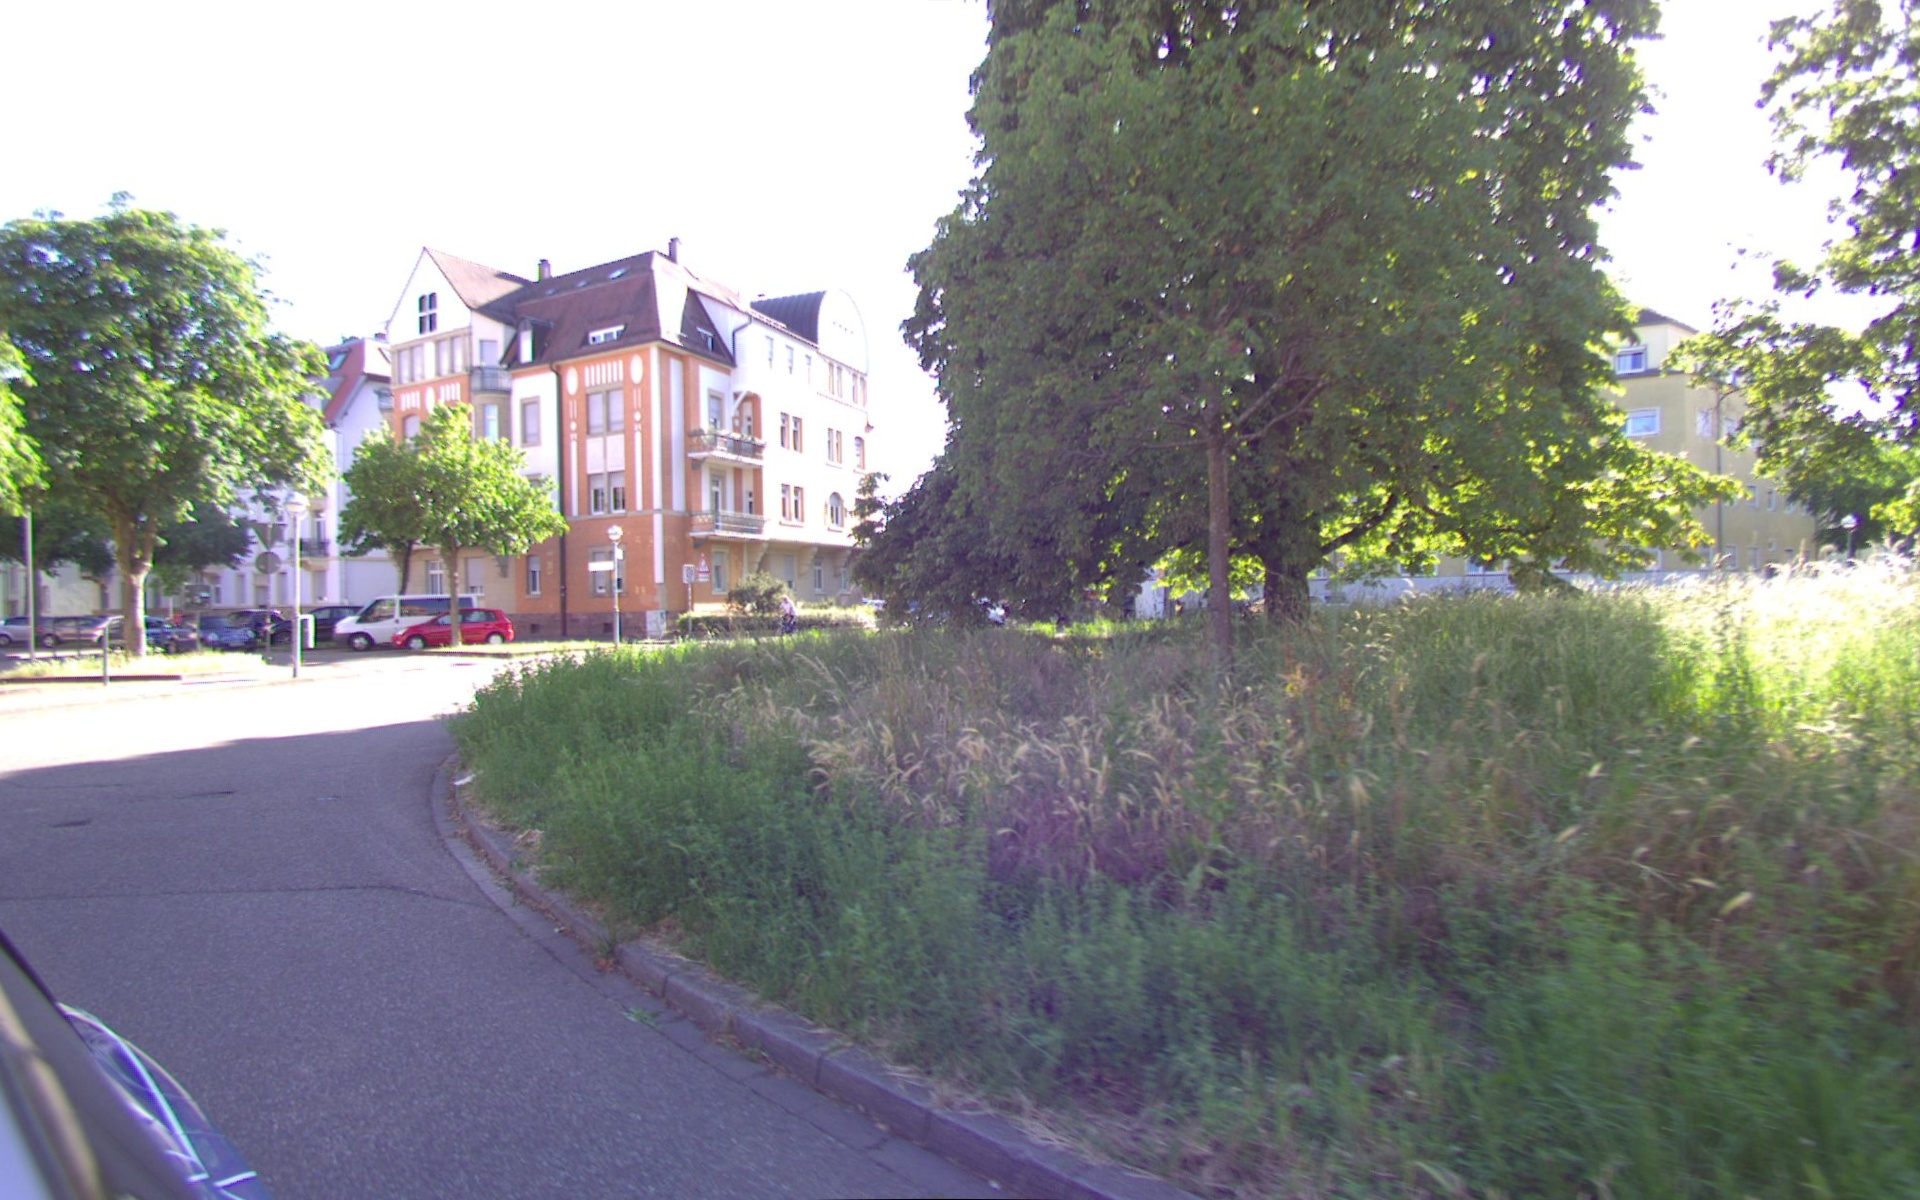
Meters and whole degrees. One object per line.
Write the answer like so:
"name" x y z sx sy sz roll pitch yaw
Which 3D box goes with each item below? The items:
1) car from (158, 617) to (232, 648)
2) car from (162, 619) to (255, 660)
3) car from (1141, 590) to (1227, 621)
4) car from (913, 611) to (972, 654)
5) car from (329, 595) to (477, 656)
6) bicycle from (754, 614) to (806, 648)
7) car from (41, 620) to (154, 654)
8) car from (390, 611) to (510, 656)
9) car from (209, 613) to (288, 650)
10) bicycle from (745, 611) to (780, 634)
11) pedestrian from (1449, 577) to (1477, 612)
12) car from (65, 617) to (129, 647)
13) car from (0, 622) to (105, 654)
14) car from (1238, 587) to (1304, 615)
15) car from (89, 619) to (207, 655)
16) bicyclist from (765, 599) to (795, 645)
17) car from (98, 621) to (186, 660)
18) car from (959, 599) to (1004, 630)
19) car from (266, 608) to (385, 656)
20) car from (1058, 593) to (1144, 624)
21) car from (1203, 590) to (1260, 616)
"car" -39.235 1.647 51.882 3.943 1.467 1.742 -1 0 32
"car" -28.153 1.452 37.900 3.601 1.433 1.597 -1 0 32
"car" 11.517 0.284 52.192 3.986 1.484 1.741 -1 -1 32
"car" -0.718 1.180 37.957 1.770 1.446 4.214 -2 0 -6
"car" -20.282 0.894 37.123 4.624 2.061 2.000 -1 0 -26
"bicycle" -6.812 1.176 38.328 1.842 1.207 0.765 -1 0 -45
"car" -42.521 1.817 49.990 3.887 1.508 1.767 -1 0 -24
"car" -17.828 1.136 35.429 3.632 1.446 1.674 -1 0 -28
"car" -34.298 1.511 48.797 3.943 1.670 1.742 -1 0 32
"bicycle" -9.518 1.068 48.769 1.663 1.080 0.496 -1 0 22
"pedestrian" 22.495 -0.241 45.265 0.812 1.535 0.699 -2 0 -11
"car" -49.874 1.823 58.497 3.943 1.629 1.742 -1 0 32
"car" -47.561 1.957 53.023 3.887 1.508 1.767 -1 0 -24
"car" 17.044 0.091 55.618 1.708 1.450 4.395 -1 0 -8
"car" -37.341 1.664 46.652 3.887 1.508 1.767 -1 0 -24
"bicyclist" -6.803 0.810 38.323 0.800 1.709 0.765 -1 0 -45
"car" -32.288 1.572 39.940 3.601 1.433 1.597 -1 0 32
"car" 1.056 0.741 52.291 1.770 1.446 4.214 -2 0 -6
"car" -25.258 1.240 40.447 3.887 1.751 1.767 -1 0 -28
"car" 7.155 0.451 51.516 3.988 1.484 1.740 -1 -1 33
"car" 16.370 0.194 61.281 1.708 1.450 4.395 -1 0 -8
